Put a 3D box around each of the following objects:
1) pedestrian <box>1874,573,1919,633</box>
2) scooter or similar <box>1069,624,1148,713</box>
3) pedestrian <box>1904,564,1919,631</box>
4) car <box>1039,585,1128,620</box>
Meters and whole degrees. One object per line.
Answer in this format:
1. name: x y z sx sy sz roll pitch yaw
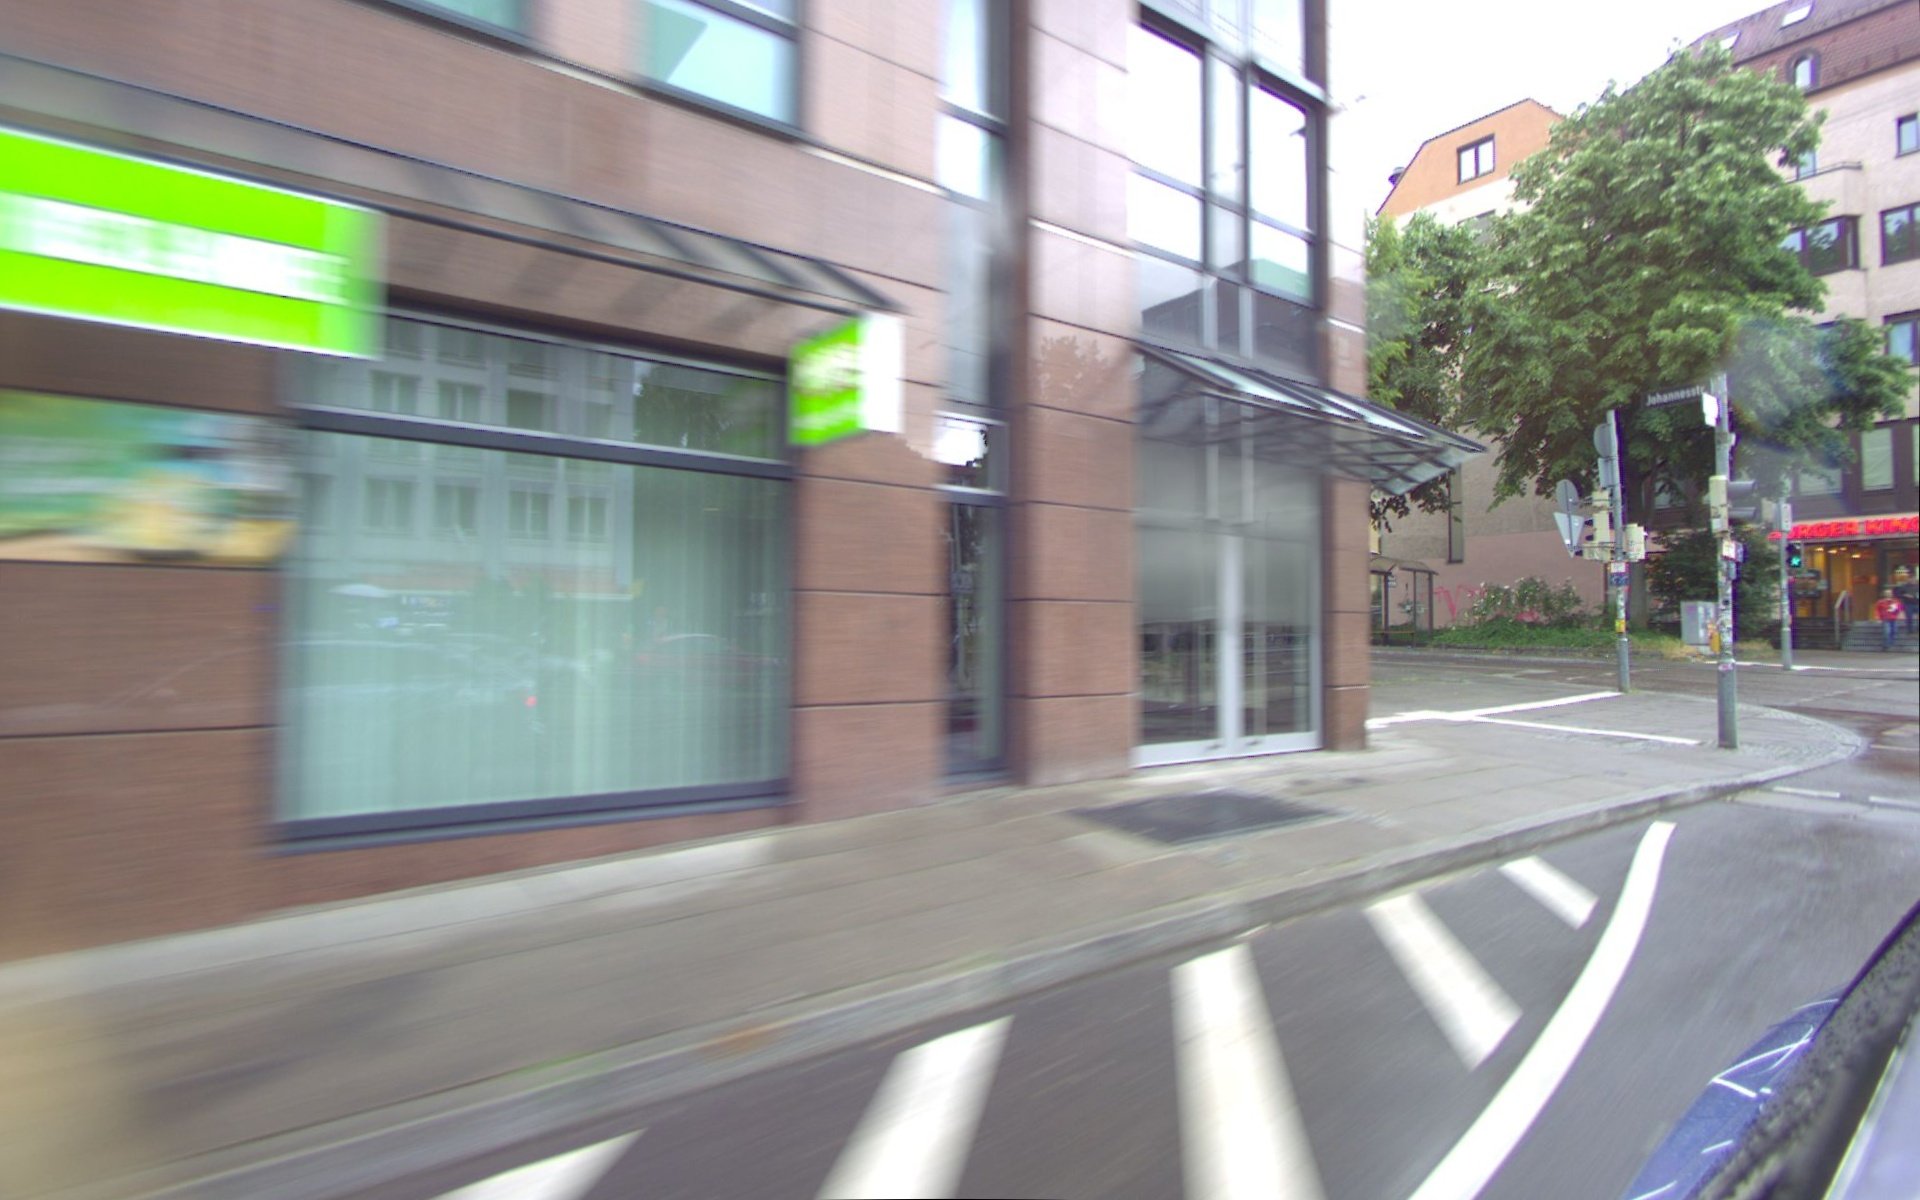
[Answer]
1. pedestrian: 26.378 0.087 28.474 0.614 1.670 0.724 -1 -1 5
2. scooter or similar: 2.179 0.983 14.993 0.319 1.243 1.379 0 -1 -32
3. pedestrian: 27.009 -0.072 28.286 0.586 1.843 0.666 -1 -1 5
4. car: 5.430 0.105 44.261 3.799 1.480 1.678 0 -1 -37
